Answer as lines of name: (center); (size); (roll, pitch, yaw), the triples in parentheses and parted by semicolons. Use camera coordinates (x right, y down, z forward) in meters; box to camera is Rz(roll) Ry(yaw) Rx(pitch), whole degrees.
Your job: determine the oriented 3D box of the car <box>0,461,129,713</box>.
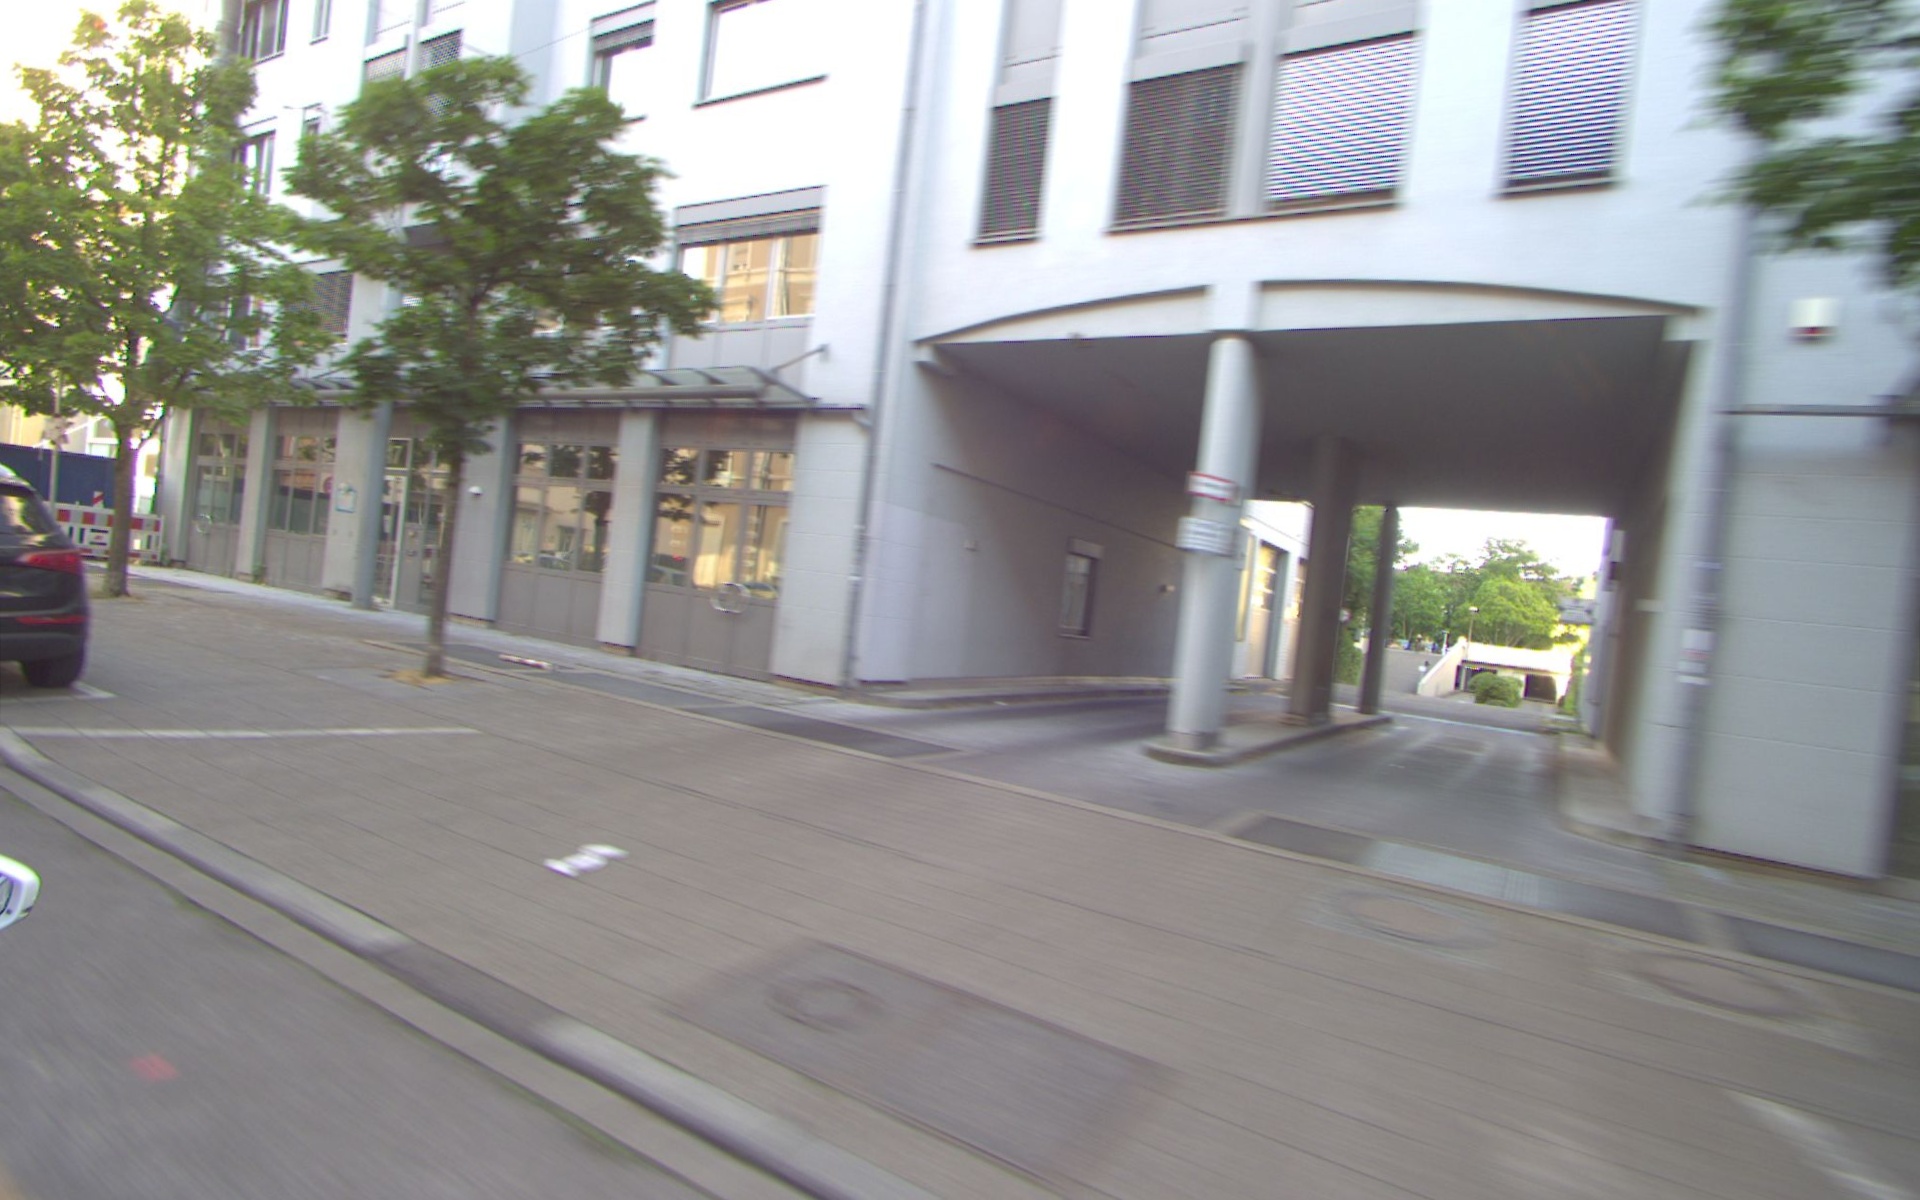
car: (-8.240, -0.306, 7.429); (4.360, 1.644, 1.886); (7, 2, 32)
